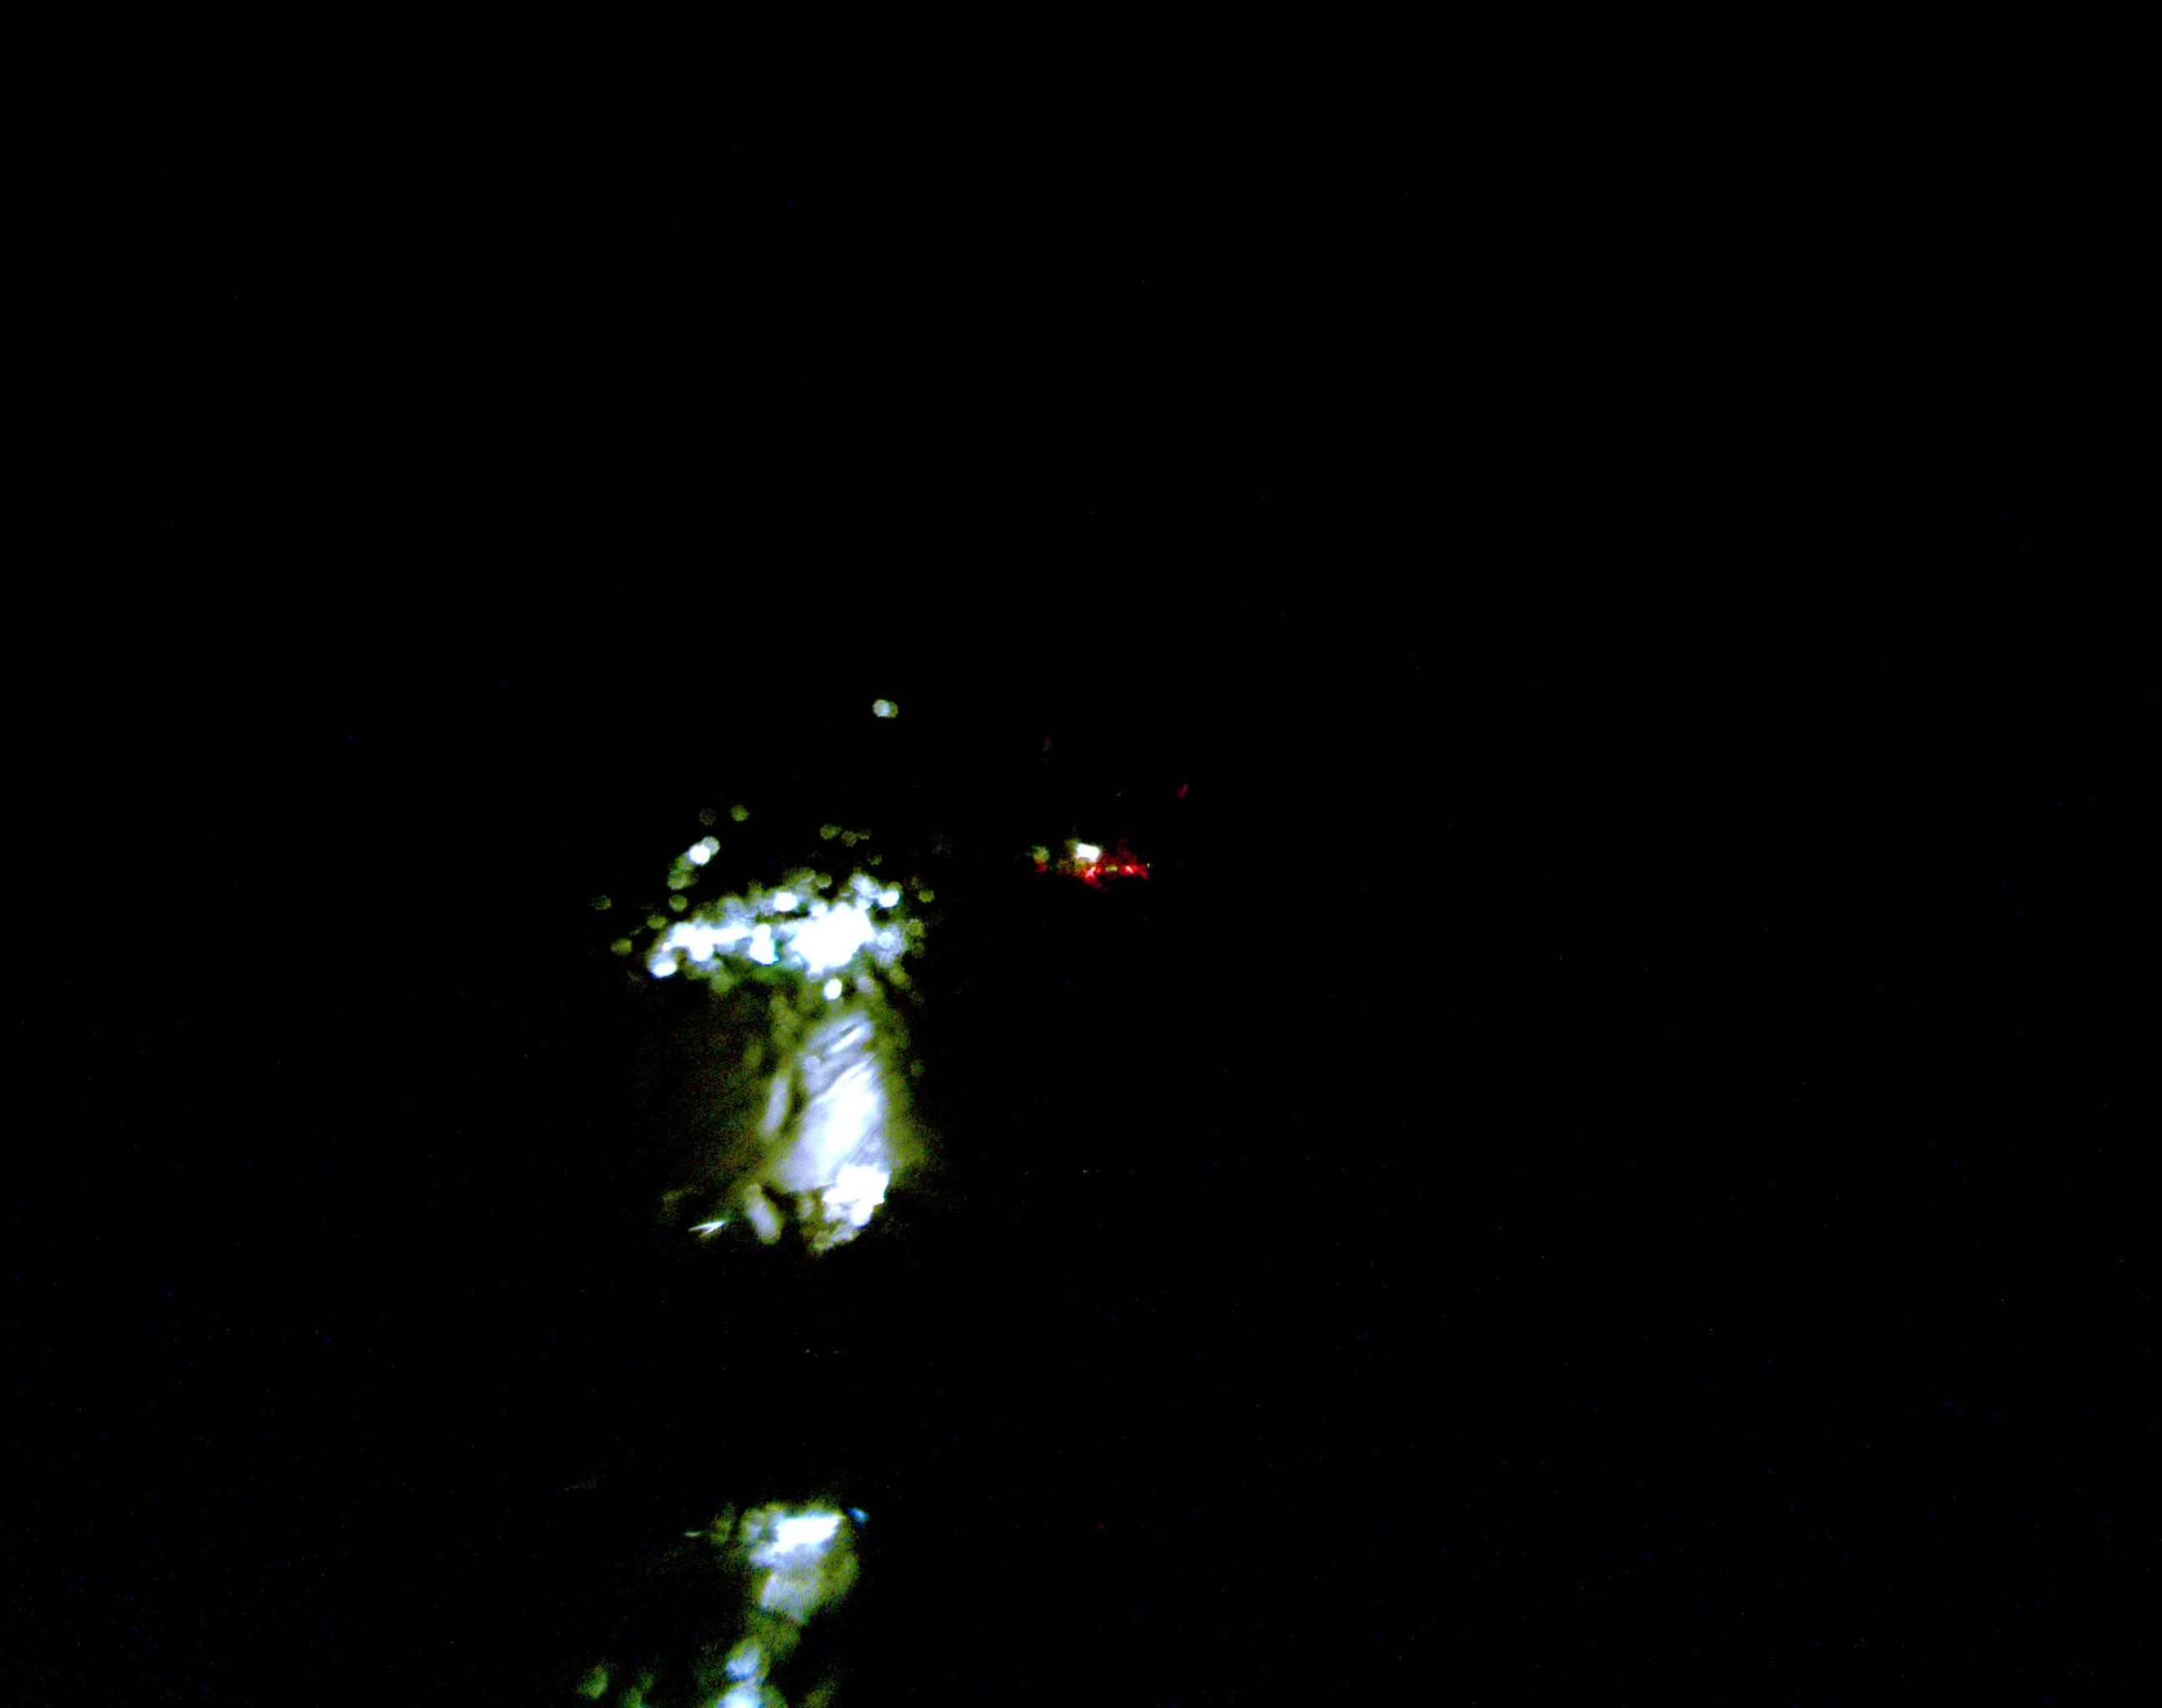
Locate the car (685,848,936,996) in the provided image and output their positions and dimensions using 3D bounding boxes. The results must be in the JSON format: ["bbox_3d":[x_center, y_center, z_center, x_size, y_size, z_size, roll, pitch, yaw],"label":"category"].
[{"bbox_3d":[-3.378,0.733,11.200,1.793,1.580,4.459,-1,1,2],"label":"car"}]

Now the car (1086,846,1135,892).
[{"bbox_3d":[1.312,0.645,37.938,1.988,1.806,3.917,-4,2,-1],"label":"car"}]
